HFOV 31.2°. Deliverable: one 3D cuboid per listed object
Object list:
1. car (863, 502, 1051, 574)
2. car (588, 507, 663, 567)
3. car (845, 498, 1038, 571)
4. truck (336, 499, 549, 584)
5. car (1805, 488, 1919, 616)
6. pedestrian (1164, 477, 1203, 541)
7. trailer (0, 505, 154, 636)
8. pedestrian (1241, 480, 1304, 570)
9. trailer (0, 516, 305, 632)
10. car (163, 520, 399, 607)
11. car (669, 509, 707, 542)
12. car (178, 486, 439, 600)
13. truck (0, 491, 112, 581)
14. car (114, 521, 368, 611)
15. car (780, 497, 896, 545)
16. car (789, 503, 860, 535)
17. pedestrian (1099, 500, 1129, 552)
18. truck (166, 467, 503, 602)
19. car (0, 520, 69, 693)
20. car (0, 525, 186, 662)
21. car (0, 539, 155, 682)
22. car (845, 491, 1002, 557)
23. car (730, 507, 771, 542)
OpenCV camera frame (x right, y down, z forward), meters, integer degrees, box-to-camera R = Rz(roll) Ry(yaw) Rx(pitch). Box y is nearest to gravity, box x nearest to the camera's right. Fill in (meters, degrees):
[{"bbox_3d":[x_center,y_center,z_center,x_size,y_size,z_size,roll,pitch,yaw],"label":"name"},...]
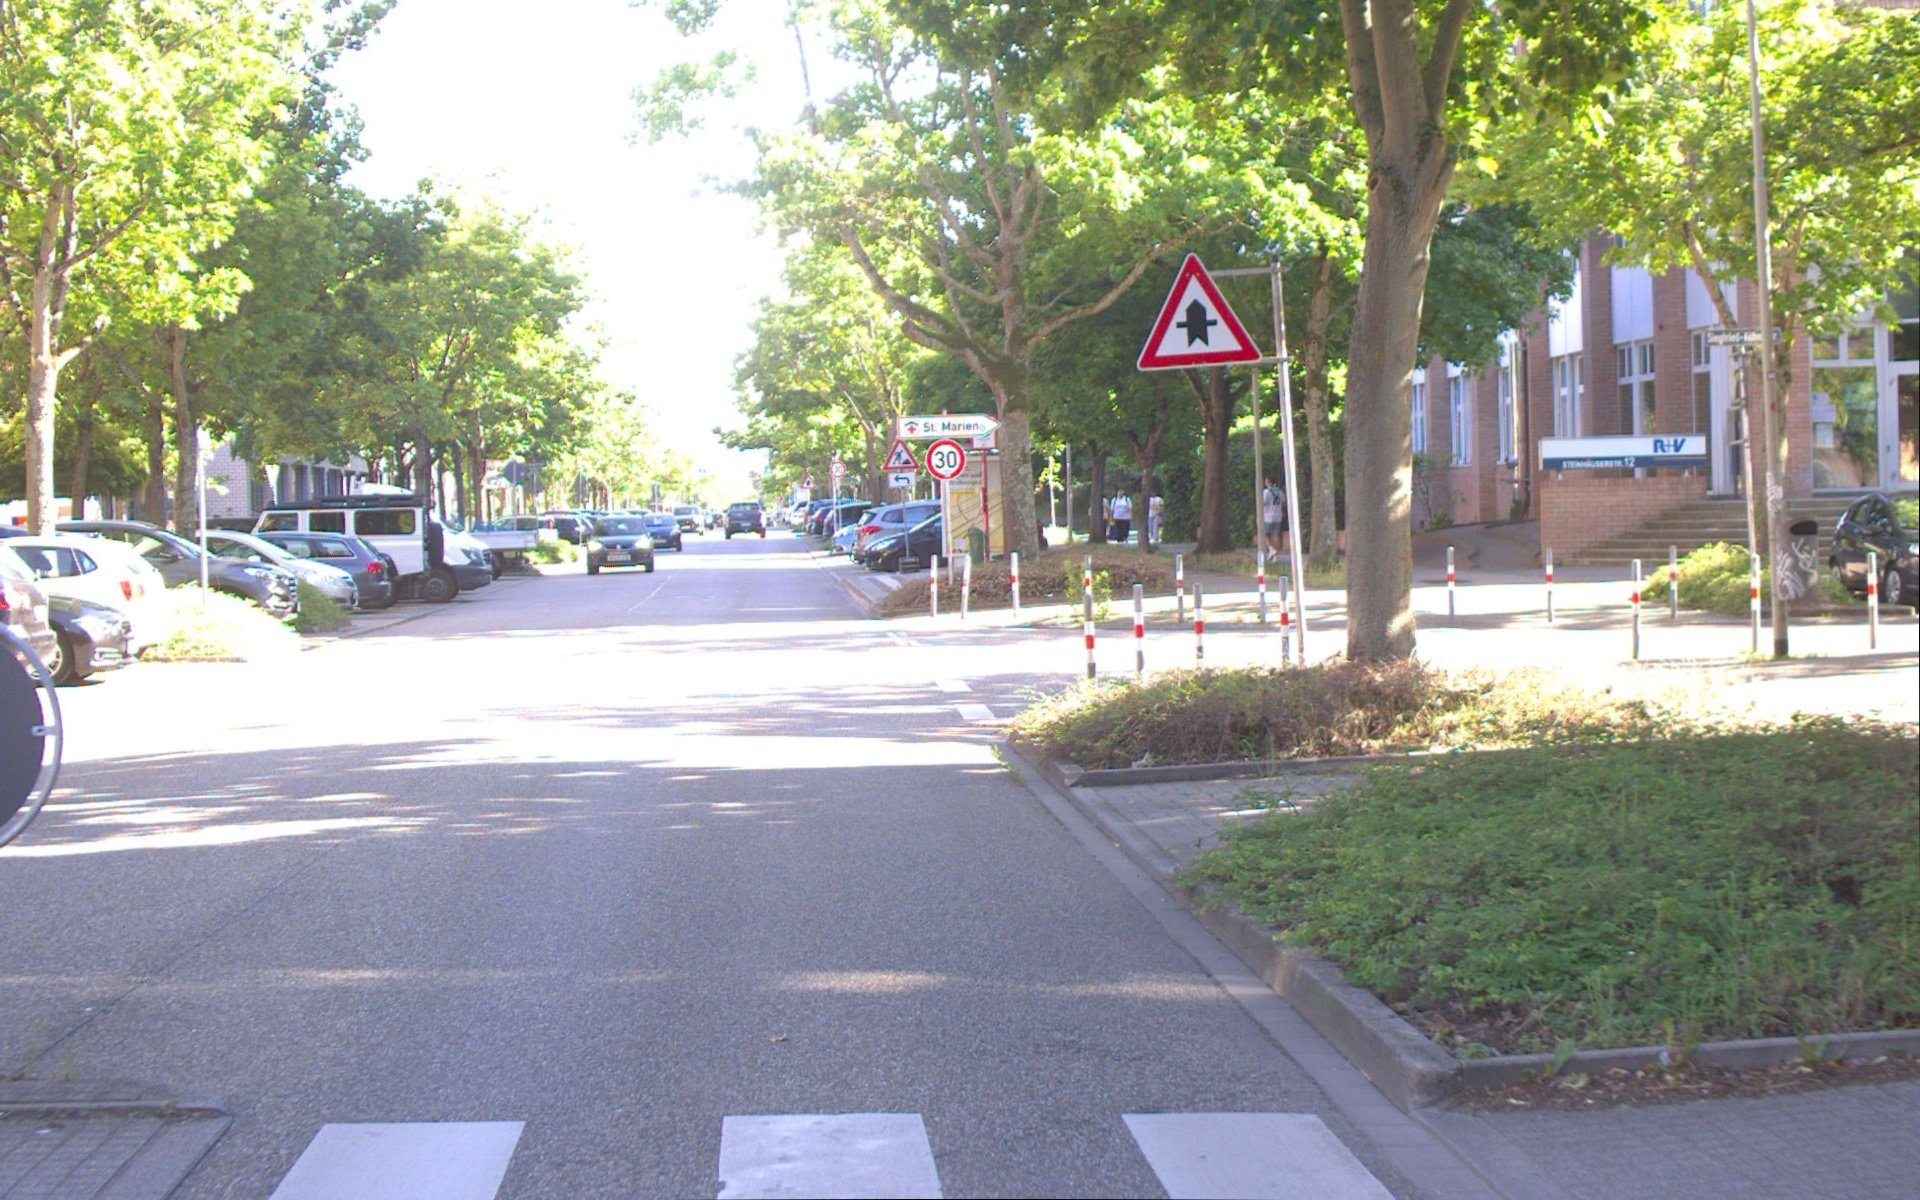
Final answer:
[{"bbox_3d":[-0.094,-1.364,75.522,3.934,1.434,1.775,-2,1,-5],"label":"car"},{"bbox_3d":[-8.891,-1.698,91.576,1.779,1.506,4.001,-1,2,-3],"label":"car"},{"bbox_3d":[-0.460,-1.581,82.535,4.351,1.592,1.940,-2,1,-9],"label":"car"},{"bbox_3d":[-13.076,-1.489,87.093,4.985,1.952,2.138,-2,1,0],"label":"truck"},{"bbox_3d":[11.905,-0.635,42.641,1.652,1.457,3.918,-1,2,-3],"label":"car"},{"bbox_3d":[6.192,-2.517,95.098,0.695,1.705,0.921,-5,2,-14],"label":"pedestrian"},{"bbox_3d":[-12.088,-0.402,45.020,2.725,1.681,1.712,0,2,-3],"label":"trailer"},{"bbox_3d":[6.171,-1.477,67.904,0.917,1.705,0.698,-5,3,-16],"label":"pedestrian"},{"bbox_3d":[-11.269,-0.377,47.425,4.259,1.566,1.857,0,1,-7],"label":"trailer"},{"bbox_3d":[-11.764,-0.642,59.767,3.778,1.487,1.833,0,2,-2],"label":"car"},{"bbox_3d":[-14.431,-3.965,182.291,1.891,1.678,4.354,-2,2,-5],"label":"car"},{"bbox_3d":[-11.812,-1.034,62.558,4.481,2.044,2.000,0,1,-5],"label":"car"},{"bbox_3d":[-29.997,-1.971,107.975,6.103,2.695,2.579,-2,2,-5],"label":"truck"},{"bbox_3d":[-11.877,-0.576,56.937,3.834,1.456,1.732,0,1,0],"label":"car"},{"bbox_3d":[-4.678,-3.021,131.204,4.267,1.628,1.859,-2,2,-6],"label":"car"},{"bbox_3d":[-7.991,-4.801,202.666,3.986,1.786,2.001,-2,1,-8],"label":"car"},{"bbox_3d":[4.355,-2.100,97.262,0.700,1.453,0.716,-2,2,-6],"label":"pedestrian"},{"bbox_3d":[-12.275,-1.301,67.795,6.231,2.413,2.188,-2,1,-3],"label":"truck"},{"bbox_3d":[-10.551,0.016,32.246,3.986,1.565,1.728,1,1,-4],"label":"car"},{"bbox_3d":[-10.613,-0.095,38.058,3.754,1.447,1.755,0,2,-4],"label":"car"},{"bbox_3d":[-10.411,0.079,34.890,4.151,1.398,1.801,0,1,-5],"label":"car"},{"bbox_3d":[-1.101,-2.237,101.292,4.404,1.612,1.912,-4,2,-4],"label":"car"},{"bbox_3d":[-10.319,-3.725,169.037,1.933,1.592,4.367,-2,2,-4],"label":"car"}]
